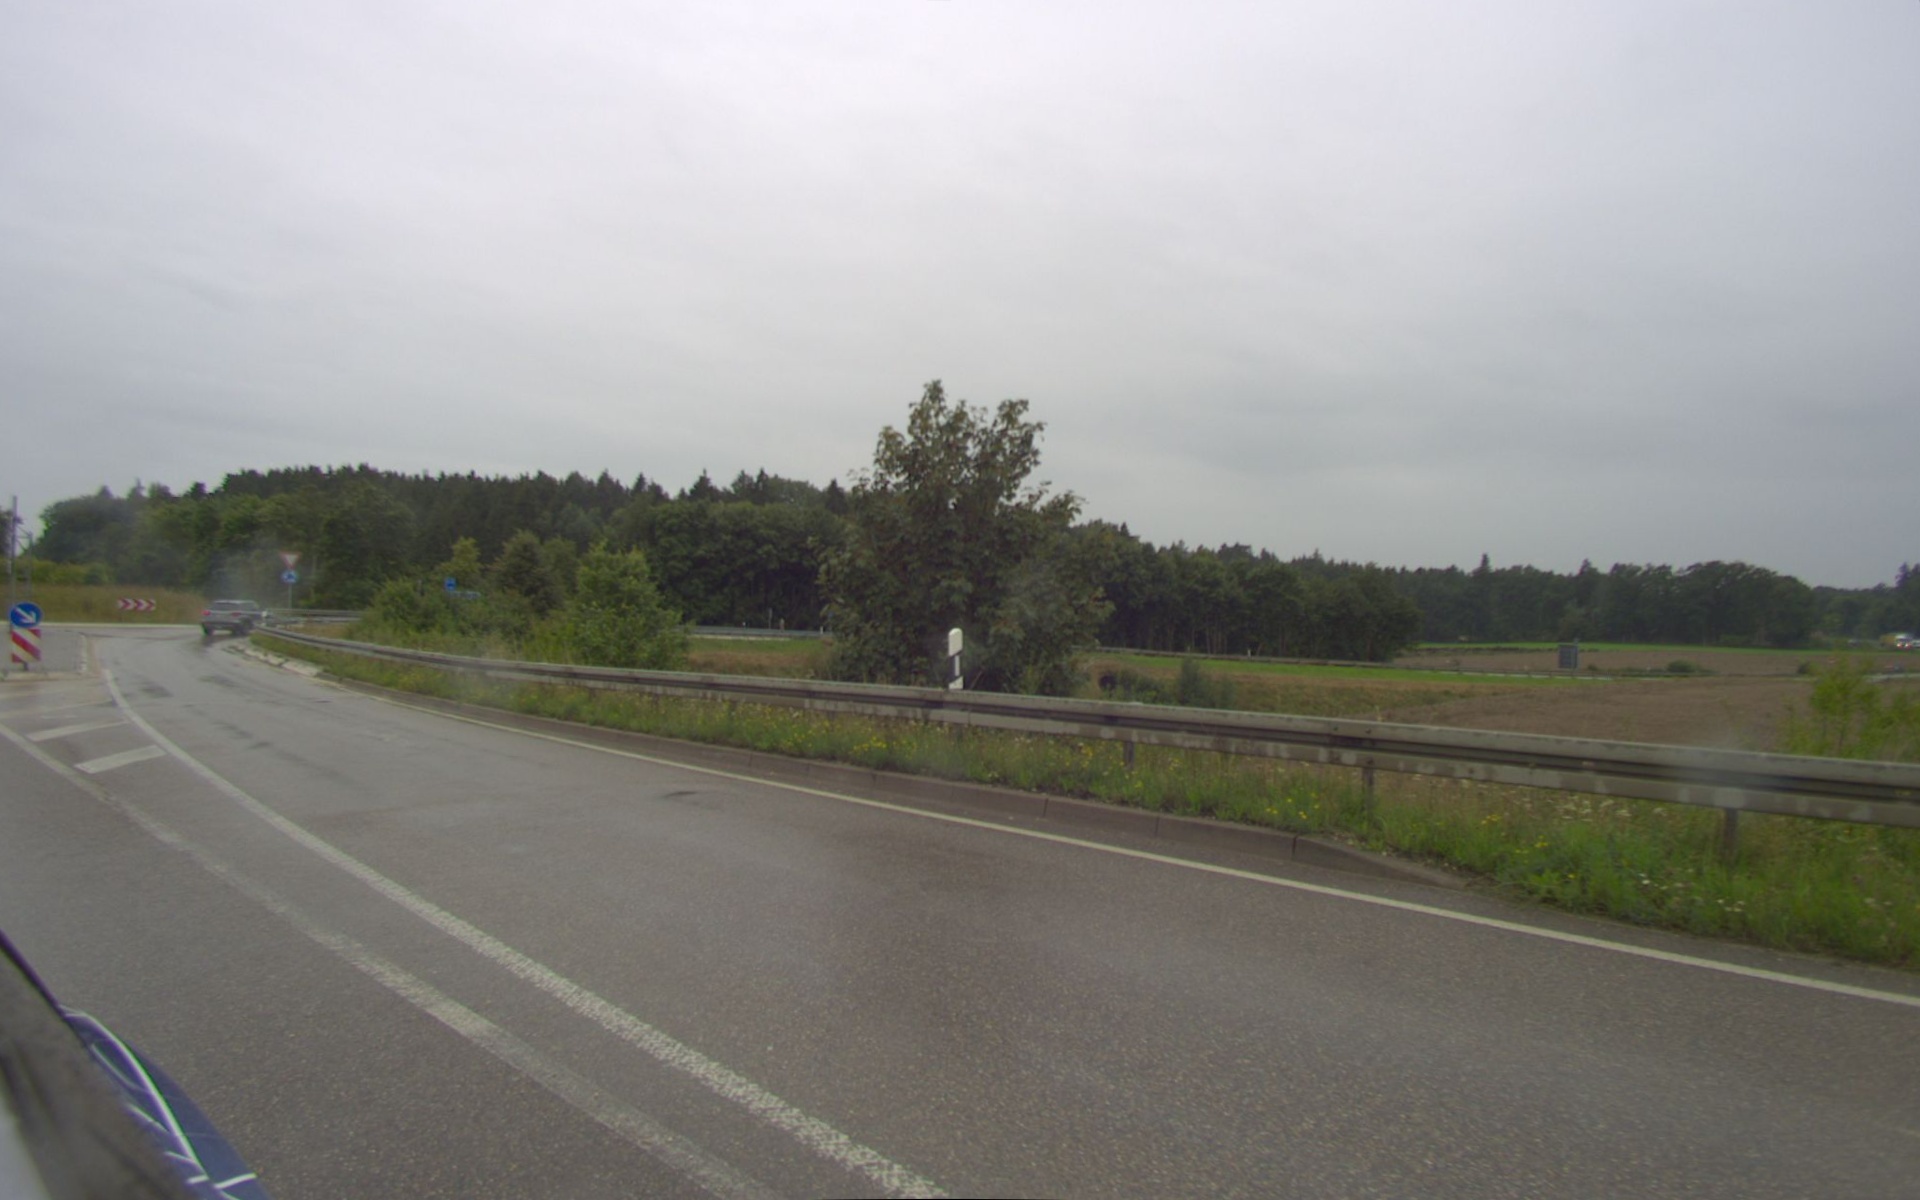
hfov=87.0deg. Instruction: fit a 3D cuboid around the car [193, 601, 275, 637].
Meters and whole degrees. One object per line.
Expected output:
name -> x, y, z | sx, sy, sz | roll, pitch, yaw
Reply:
car -> -34.312, 0.858, 47.922 | 1.776, 1.587, 4.011 | 1, 0, -14
